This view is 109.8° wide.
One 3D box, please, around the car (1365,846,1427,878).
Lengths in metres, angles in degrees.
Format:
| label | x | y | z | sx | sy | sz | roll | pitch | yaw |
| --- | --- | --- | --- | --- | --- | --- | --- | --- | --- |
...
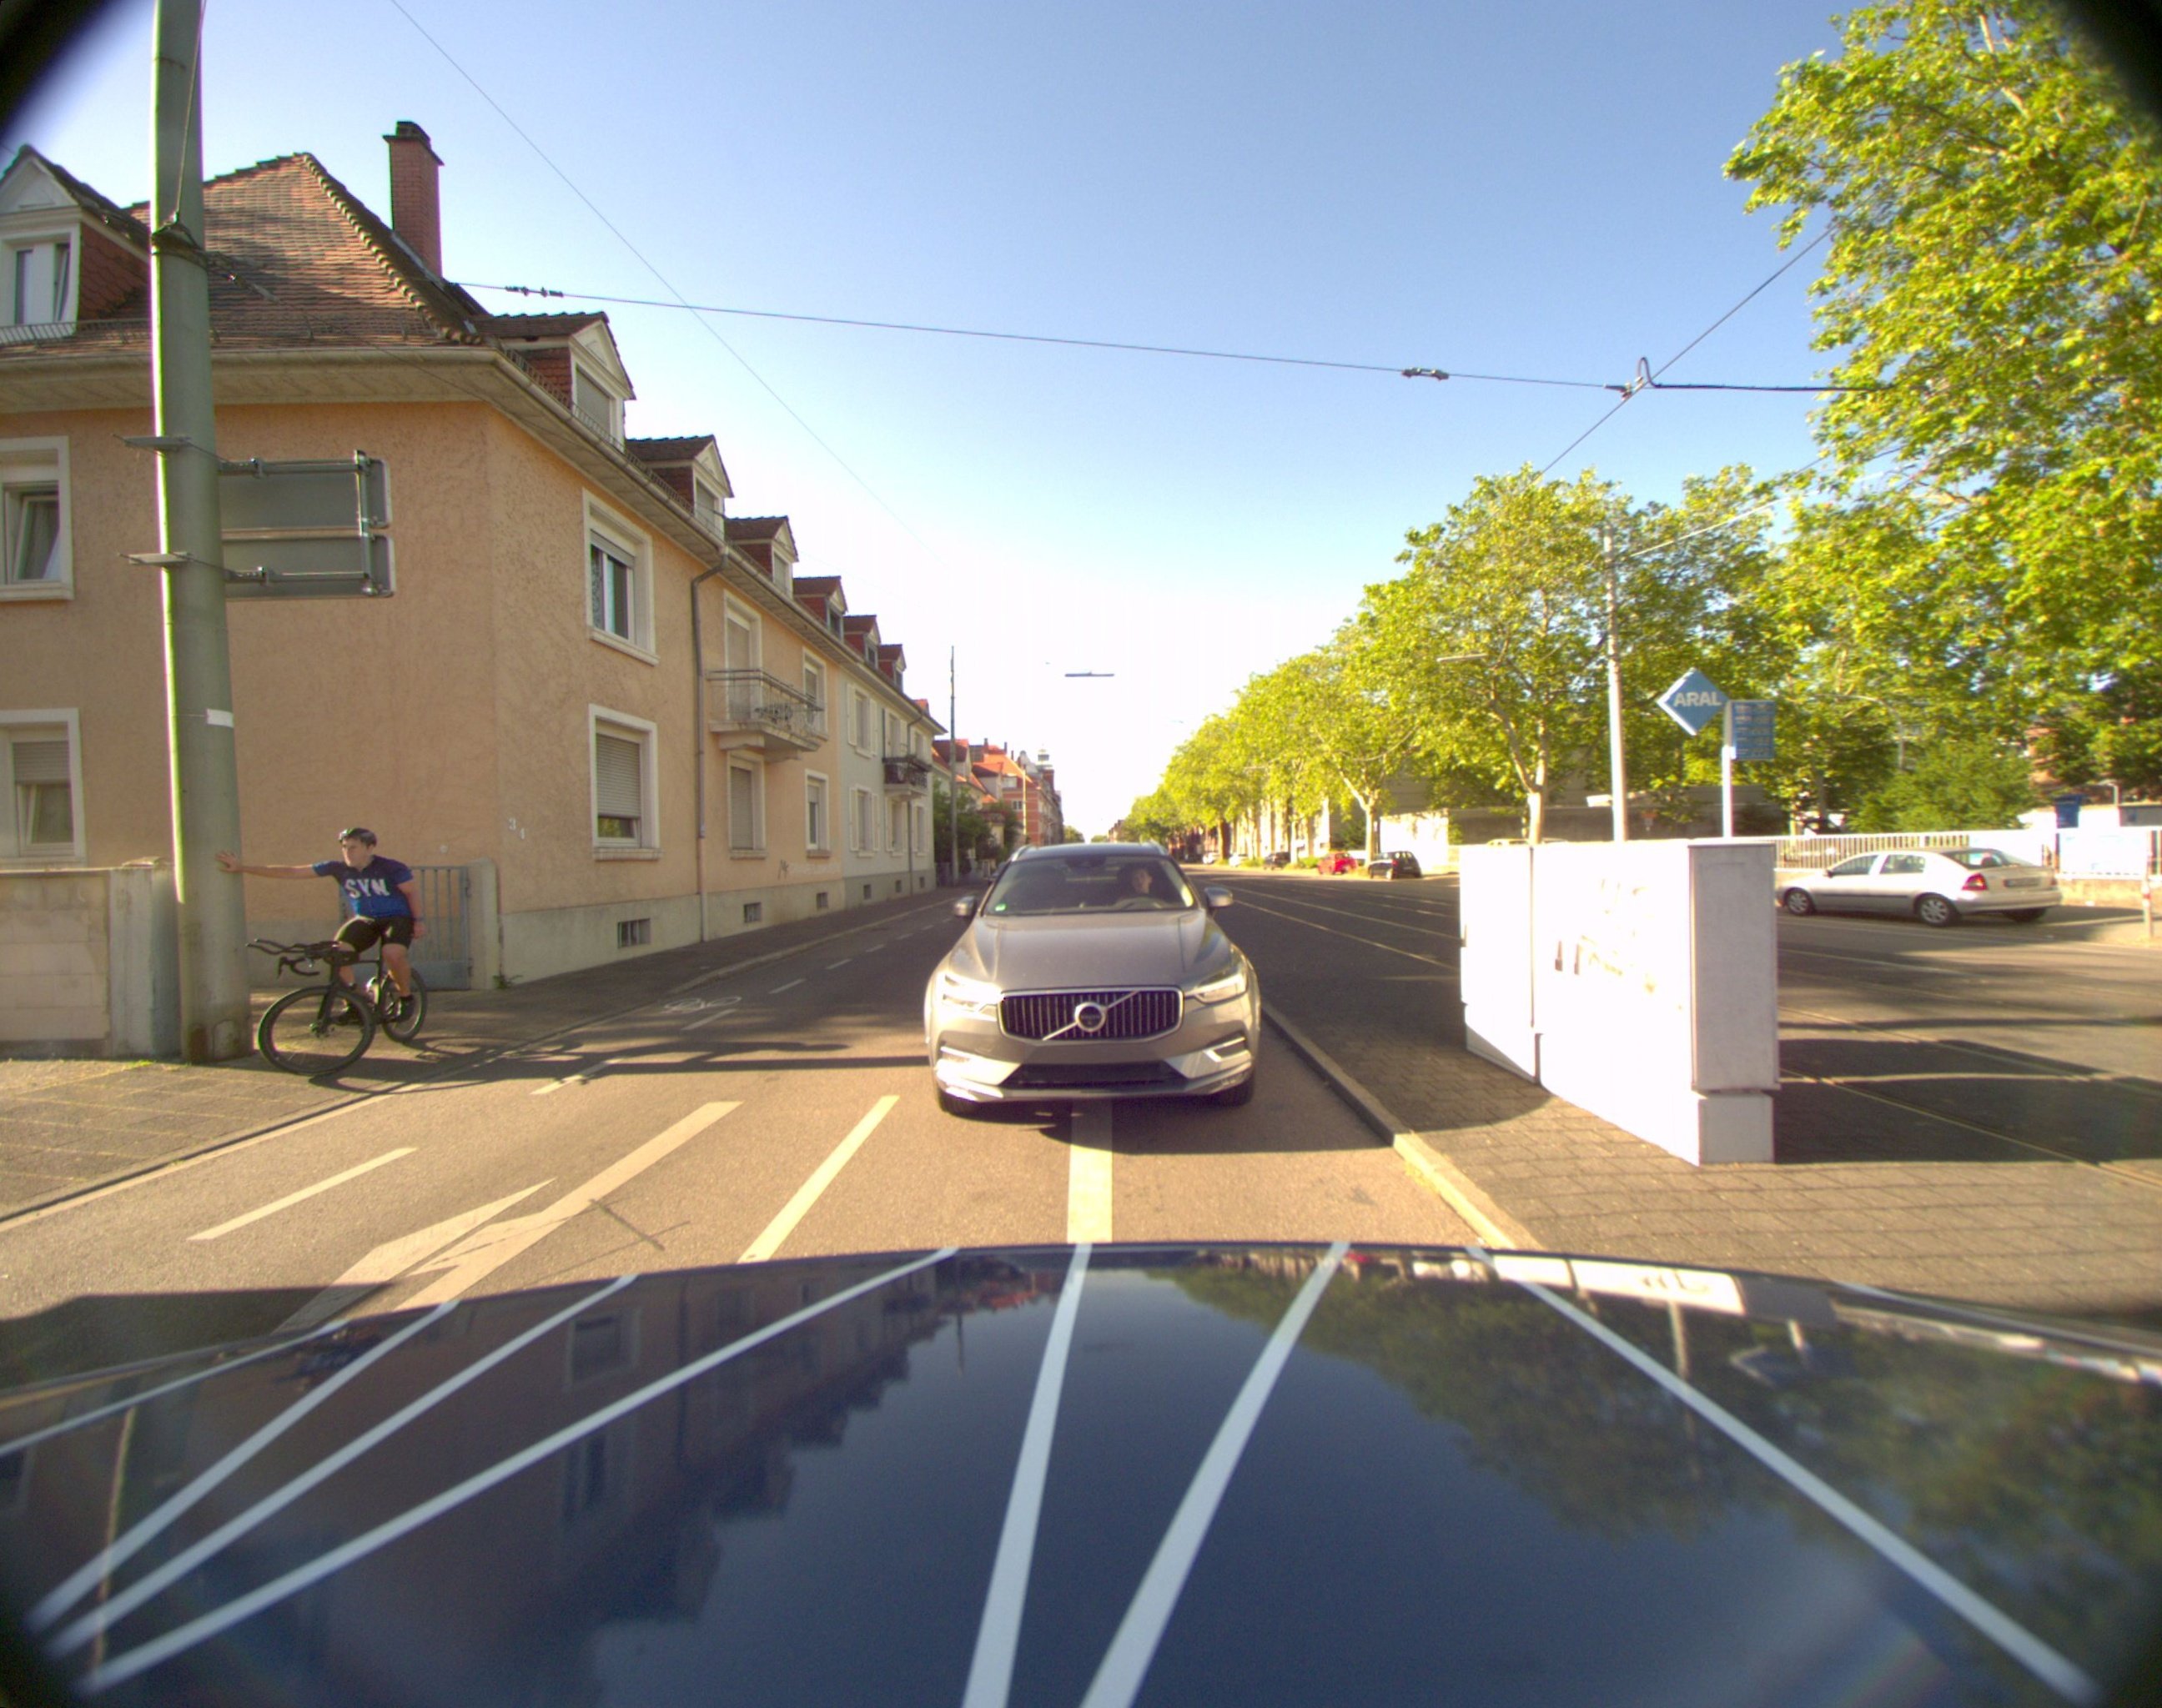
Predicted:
| label | x | y | z | sx | sy | sz | roll | pitch | yaw |
| --- | --- | --- | --- | --- | --- | --- | --- | --- | --- |
| car | 16.972 | 0.403 | 41.094 | 1.845 | 1.524 | 4.001 | -4 | 0 | 4 |

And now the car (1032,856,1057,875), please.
| label | x | y | z | sx | sy | sz | roll | pitch | yaw |
| --- | --- | --- | --- | --- | --- | --- | --- | --- | --- |
| car | -2.872 | 0.854 | 60.415 | 1.808 | 1.402 | 3.999 | -1 | 0 | -1 |

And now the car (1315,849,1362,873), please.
| label | x | y | z | sx | sy | sz | roll | pitch | yaw |
| --- | --- | --- | --- | --- | --- | --- | --- | --- | --- |
| car | 16.968 | 0.440 | 50.319 | 1.845 | 1.400 | 4.001 | -4 | 0 | 3 |

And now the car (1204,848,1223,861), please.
| label | x | y | z | sx | sy | sz | roll | pitch | yaw |
| --- | --- | --- | --- | --- | --- | --- | --- | --- | --- |
| car | 17.605 | 0.067 | 100.914 | 1.845 | 1.664 | 4.098 | -4 | 0 | 3 |

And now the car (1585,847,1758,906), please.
| label | x | y | z | sx | sy | sz | roll | pitch | yaw |
| --- | --- | --- | --- | --- | --- | --- | --- | --- | --- |
| car | 16.521 | 0.563 | 21.557 | 1.845 | 1.400 | 4.138 | -4 | 0 | 4 |

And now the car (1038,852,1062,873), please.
| label | x | y | z | sx | sy | sz | roll | pitch | yaw |
| --- | --- | --- | --- | --- | --- | --- | --- | --- | --- |
| car | -2.668 | 0.688 | 65.778 | 1.847 | 1.681 | 4.000 | -1 | 0 | 0 |

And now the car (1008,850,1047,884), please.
| label | x | y | z | sx | sy | sz | roll | pitch | yaw |
| --- | --- | --- | --- | --- | --- | --- | --- | --- | --- |
| car | -2.907 | 0.680 | 42.287 | 1.847 | 1.742 | 4.144 | -1 | 0 | 0 |

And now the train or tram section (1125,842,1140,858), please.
| label | x | y | z | sx | sy | sz | roll | pitch | yaw |
| --- | --- | --- | --- | --- | --- | --- | --- | --- | --- |
| train or tram section | 11.574 | -0.975 | 171.098 | 2.843 | 3.456 | 10.183 | -2 | 1 | 2 |

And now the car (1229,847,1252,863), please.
| label | x | y | z | sx | sy | sz | roll | pitch | yaw |
| --- | --- | --- | --- | --- | --- | --- | --- | --- | --- |
| car | 17.499 | 0.109 | 83.551 | 1.845 | 1.664 | 4.098 | -4 | 0 | 3 |

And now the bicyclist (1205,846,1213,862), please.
| label | x | y | z | sx | sy | sz | roll | pitch | yaw |
| --- | --- | --- | --- | --- | --- | --- | --- | --- | --- |
| bicyclist | 15.213 | -0.020 | 90.081 | 0.720 | 1.853 | 1.071 | -1 | 1 | 0 |

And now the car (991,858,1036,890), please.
| label | x | y | z | sx | sy | sz | roll | pitch | yaw |
| --- | --- | --- | --- | --- | --- | --- | --- | --- | --- |
| car | -3.224 | 0.941 | 36.986 | 1.847 | 1.412 | 3.999 | -1 | 0 | -1 |

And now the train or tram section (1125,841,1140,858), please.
| label | x | y | z | sx | sy | sz | roll | pitch | yaw |
| --- | --- | --- | --- | --- | --- | --- | --- | --- | --- |
| train or tram section | 10.869 | -0.899 | 160.913 | 2.861 | 3.456 | 10.185 | -1 | 0 | 3 |

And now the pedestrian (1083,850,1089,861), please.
| label | x | y | z | sx | sy | sz | roll | pitch | yaw |
| --- | --- | --- | --- | --- | --- | --- | --- | --- | --- |
| pedestrian | 1.031 | 0.261 | 145.181 | 1.104 | 2.002 | 1.242 | -2 | 1 | 1 |

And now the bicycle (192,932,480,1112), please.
| label | x | y | z | sx | sy | sz | roll | pitch | yaw |
| --- | --- | --- | --- | --- | --- | --- | --- | --- | --- |
| bicycle | -5.925 | 1.273 | 6.205 | 0.594 | 1.045 | 1.719 | 4 | 1 | 1 |

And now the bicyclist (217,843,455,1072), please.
| label | x | y | z | sx | sy | sz | roll | pitch | yaw |
| --- | --- | --- | --- | --- | --- | --- | --- | --- | --- |
| bicyclist | -6.169 | 0.807 | 6.354 | 1.071 | 1.728 | 0.853 | 4 | 1 | 1 |

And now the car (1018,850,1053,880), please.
| label | x | y | z | sx | sy | sz | roll | pitch | yaw |
| --- | --- | --- | --- | --- | --- | --- | --- | --- | --- |
| car | -2.771 | 0.637 | 46.764 | 1.847 | 1.681 | 4.000 | -1 | 0 | 0 |

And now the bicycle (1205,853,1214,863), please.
| label | x | y | z | sx | sy | sz | roll | pitch | yaw |
| --- | --- | --- | --- | --- | --- | --- | --- | --- | --- |
| bicycle | 15.227 | 0.438 | 90.024 | 0.654 | 1.114 | 2.533 | -1 | 0 | 1 |

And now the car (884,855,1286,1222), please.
| label | x | y | z | sx | sy | sz | roll | pitch | yaw |
| --- | --- | --- | --- | --- | --- | --- | --- | --- | --- |
| car | 0.003 | 0.886 | 5.796 | 1.892 | 1.695 | 4.318 | -1 | 0 | -1 |

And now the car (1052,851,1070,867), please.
| label | x | y | z | sx | sy | sz | roll | pitch | yaw |
| --- | --- | --- | --- | --- | --- | --- | --- | --- | --- |
| car | -2.235 | 0.543 | 85.493 | 1.999 | 1.641 | 4.658 | -1 | 0 | -1 |

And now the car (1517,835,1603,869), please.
| label | x | y | z | sx | sy | sz | roll | pitch | yaw |
| --- | --- | --- | --- | --- | --- | --- | --- | --- | --- |
| car | 24.048 | -0.116 | 38.344 | 1.845 | 1.524 | 4.000 | -4 | 0 | 2 |

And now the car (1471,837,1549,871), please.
| label | x | y | z | sx | sy | sz | roll | pitch | yaw |
| --- | --- | --- | --- | --- | --- | --- | --- | --- | --- |
| car | 21.754 | -0.033 | 38.722 | 1.845 | 1.524 | 4.001 | -4 | 0 | 4 |

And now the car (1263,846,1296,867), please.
| label | x | y | z | sx | sy | sz | roll | pitch | yaw |
| --- | --- | --- | --- | --- | --- | --- | --- | --- | --- |
| car | 17.176 | 0.217 | 65.903 | 1.845 | 1.607 | 4.098 | -4 | 0 | 3 |

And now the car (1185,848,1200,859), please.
| label | x | y | z | sx | sy | sz | roll | pitch | yaw |
| --- | --- | --- | --- | --- | --- | --- | --- | --- | --- |
| car | 18.381 | -0.018 | 125.417 | 1.845 | 1.664 | 4.098 | -4 | 0 | 3 |

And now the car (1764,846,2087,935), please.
| label | x | y | z | sx | sy | sz | roll | pitch | yaw |
| --- | --- | --- | --- | --- | --- | --- | --- | --- | --- |
| car | 16.239 | 0.613 | 14.985 | 1.846 | 1.400 | 3.999 | -4 | 0 | -1 |
